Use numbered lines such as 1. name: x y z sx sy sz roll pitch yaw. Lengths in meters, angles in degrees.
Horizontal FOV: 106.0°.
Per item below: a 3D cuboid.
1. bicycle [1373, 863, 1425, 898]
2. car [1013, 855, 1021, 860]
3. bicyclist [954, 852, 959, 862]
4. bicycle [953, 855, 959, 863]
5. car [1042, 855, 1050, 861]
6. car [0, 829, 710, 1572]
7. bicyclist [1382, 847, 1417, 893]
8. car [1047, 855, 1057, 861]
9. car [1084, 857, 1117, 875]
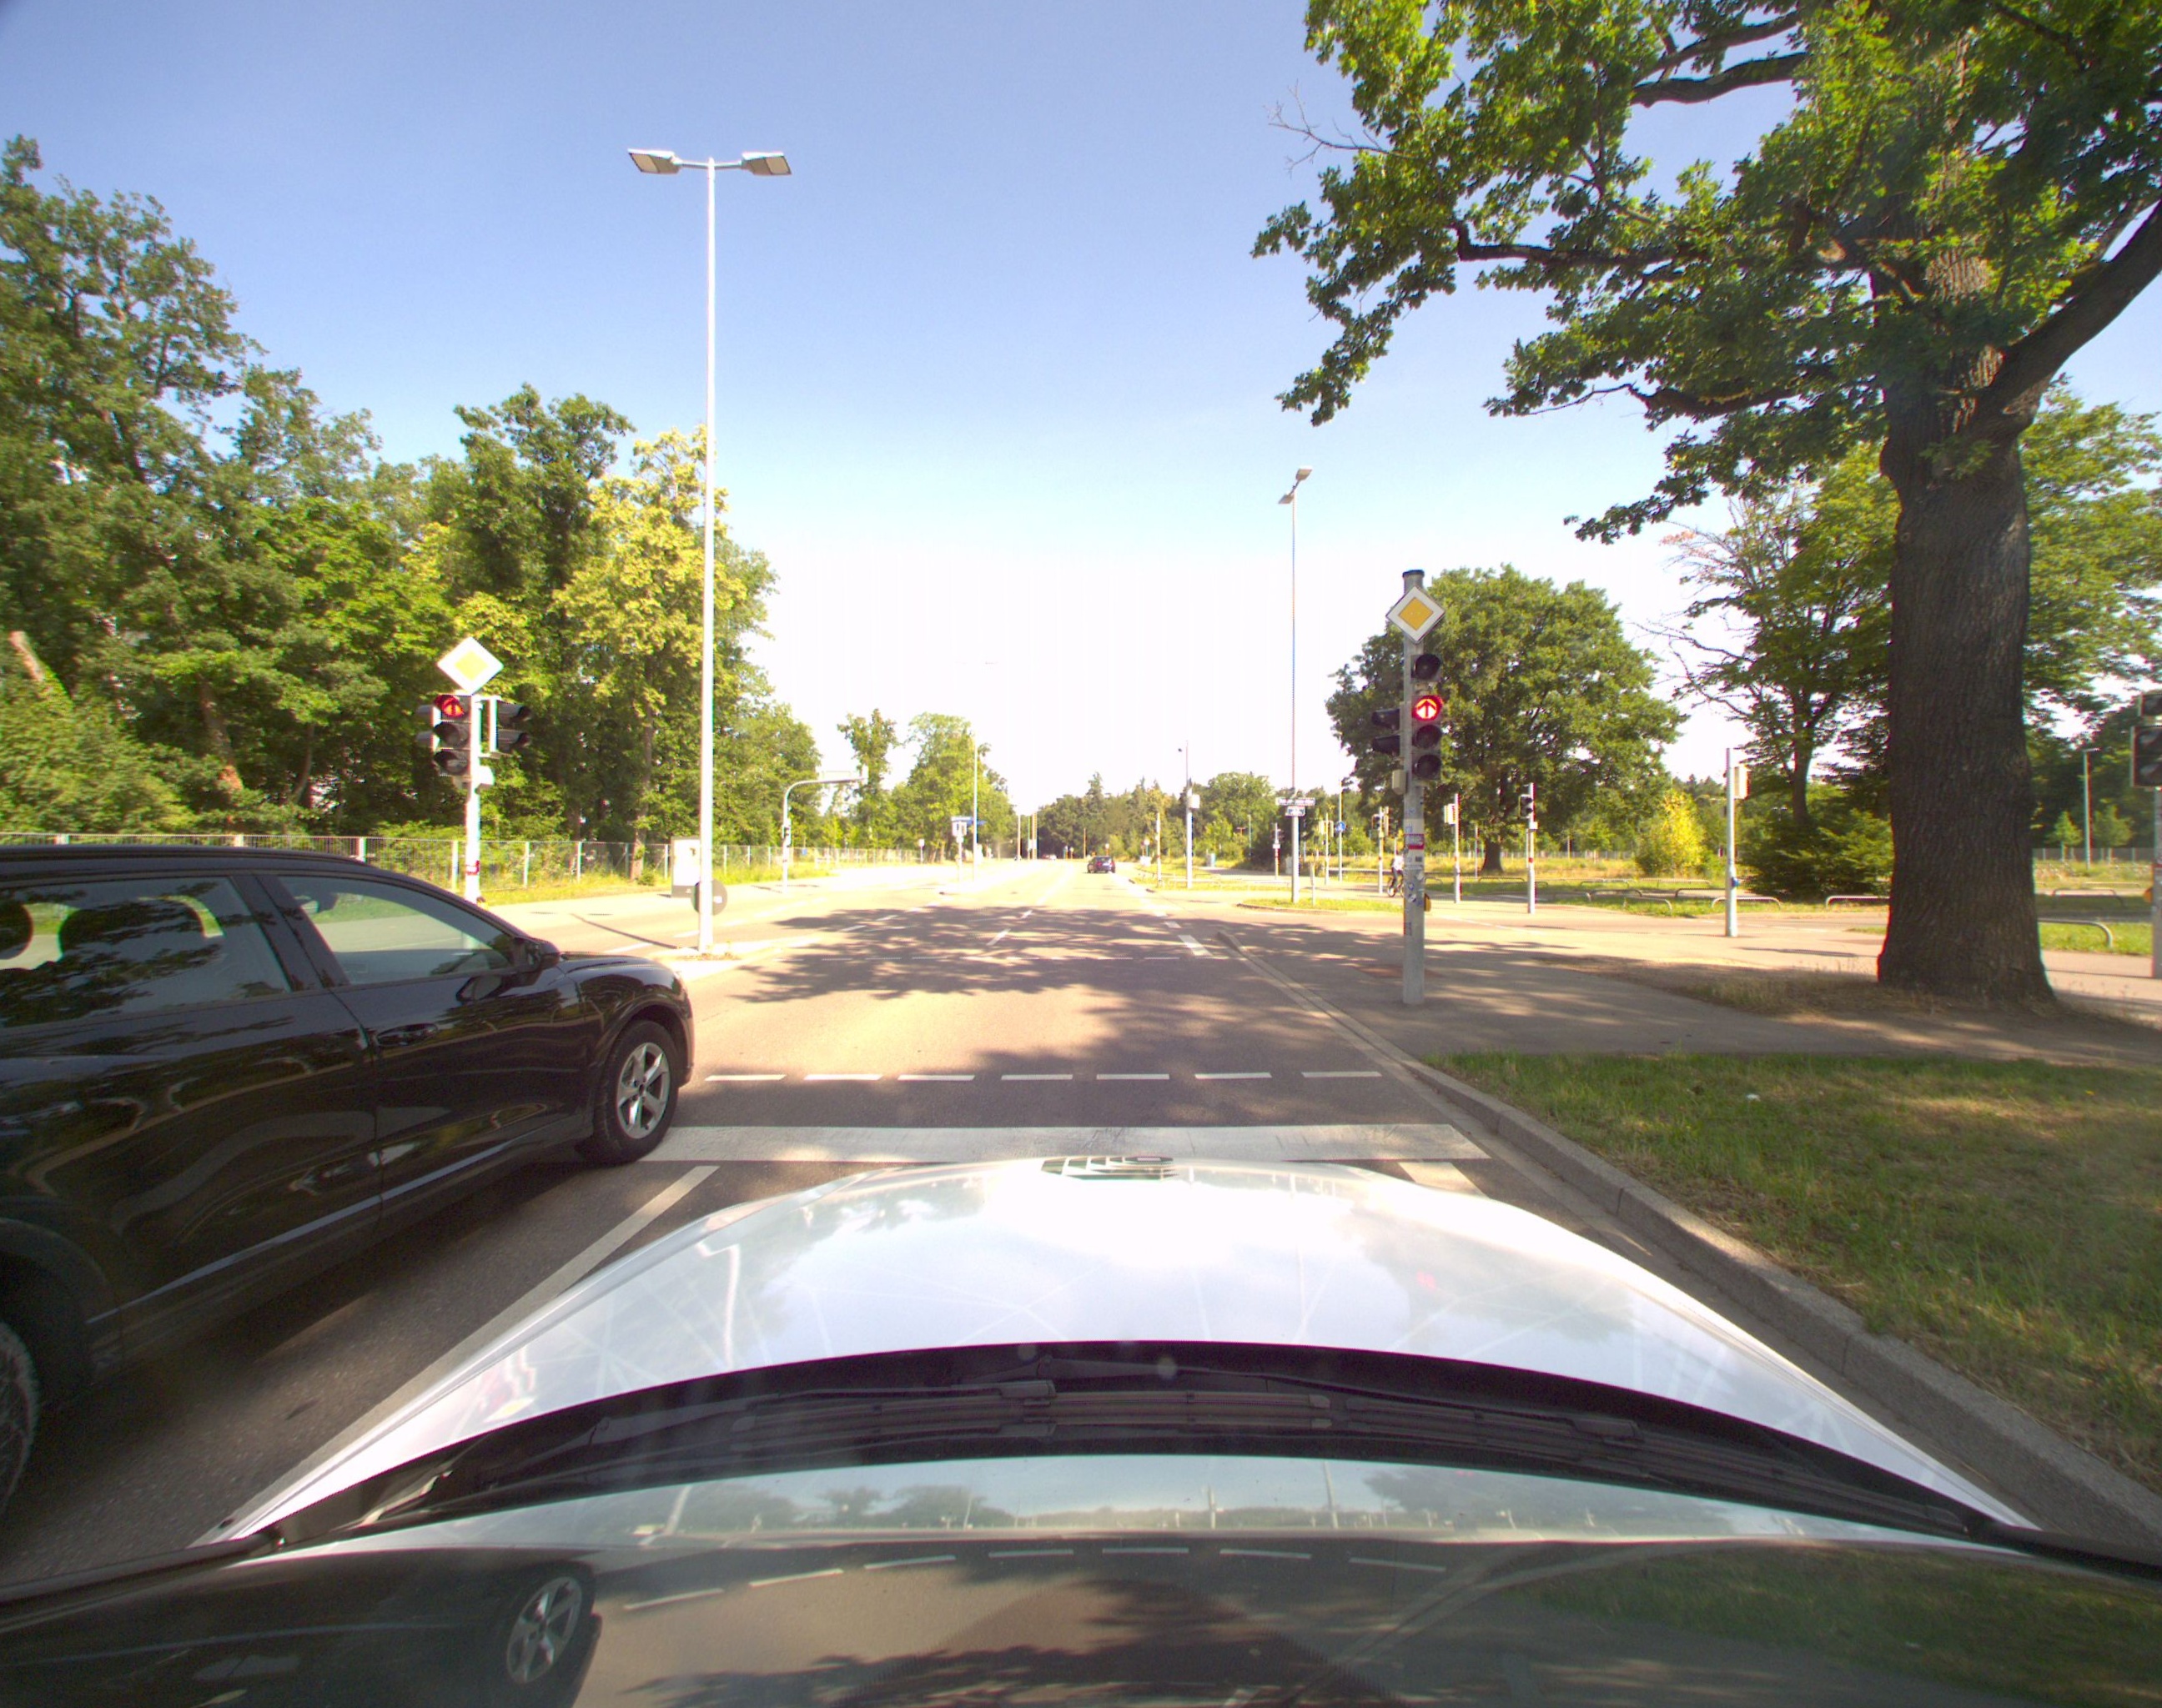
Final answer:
1. bicycle: 11.711 0.948 30.033 0.725 1.199 2.091 0 0 -14
2. car: -18.102 0.965 229.273 1.812 1.388 4.146 -2 0 -11
3. bicyclist: -18.543 0.393 121.420 0.658 1.467 1.056 1 0 -3
4. bicycle: -18.569 0.747 121.355 0.658 1.136 1.876 1 0 -3
5. car: -10.410 1.226 243.240 1.993 1.596 3.988 0 0 -9
6. car: -3.069 0.733 2.658 1.681 1.544 4.150 -1 0 2
7. bicyclist: 11.734 0.578 30.007 0.725 1.639 1.053 0 0 -14
8. car: -8.063 1.105 225.426 1.994 1.750 3.985 0 -1 -11
9. car: 1.615 0.961 68.064 1.941 1.420 4.277 0 0 -11
